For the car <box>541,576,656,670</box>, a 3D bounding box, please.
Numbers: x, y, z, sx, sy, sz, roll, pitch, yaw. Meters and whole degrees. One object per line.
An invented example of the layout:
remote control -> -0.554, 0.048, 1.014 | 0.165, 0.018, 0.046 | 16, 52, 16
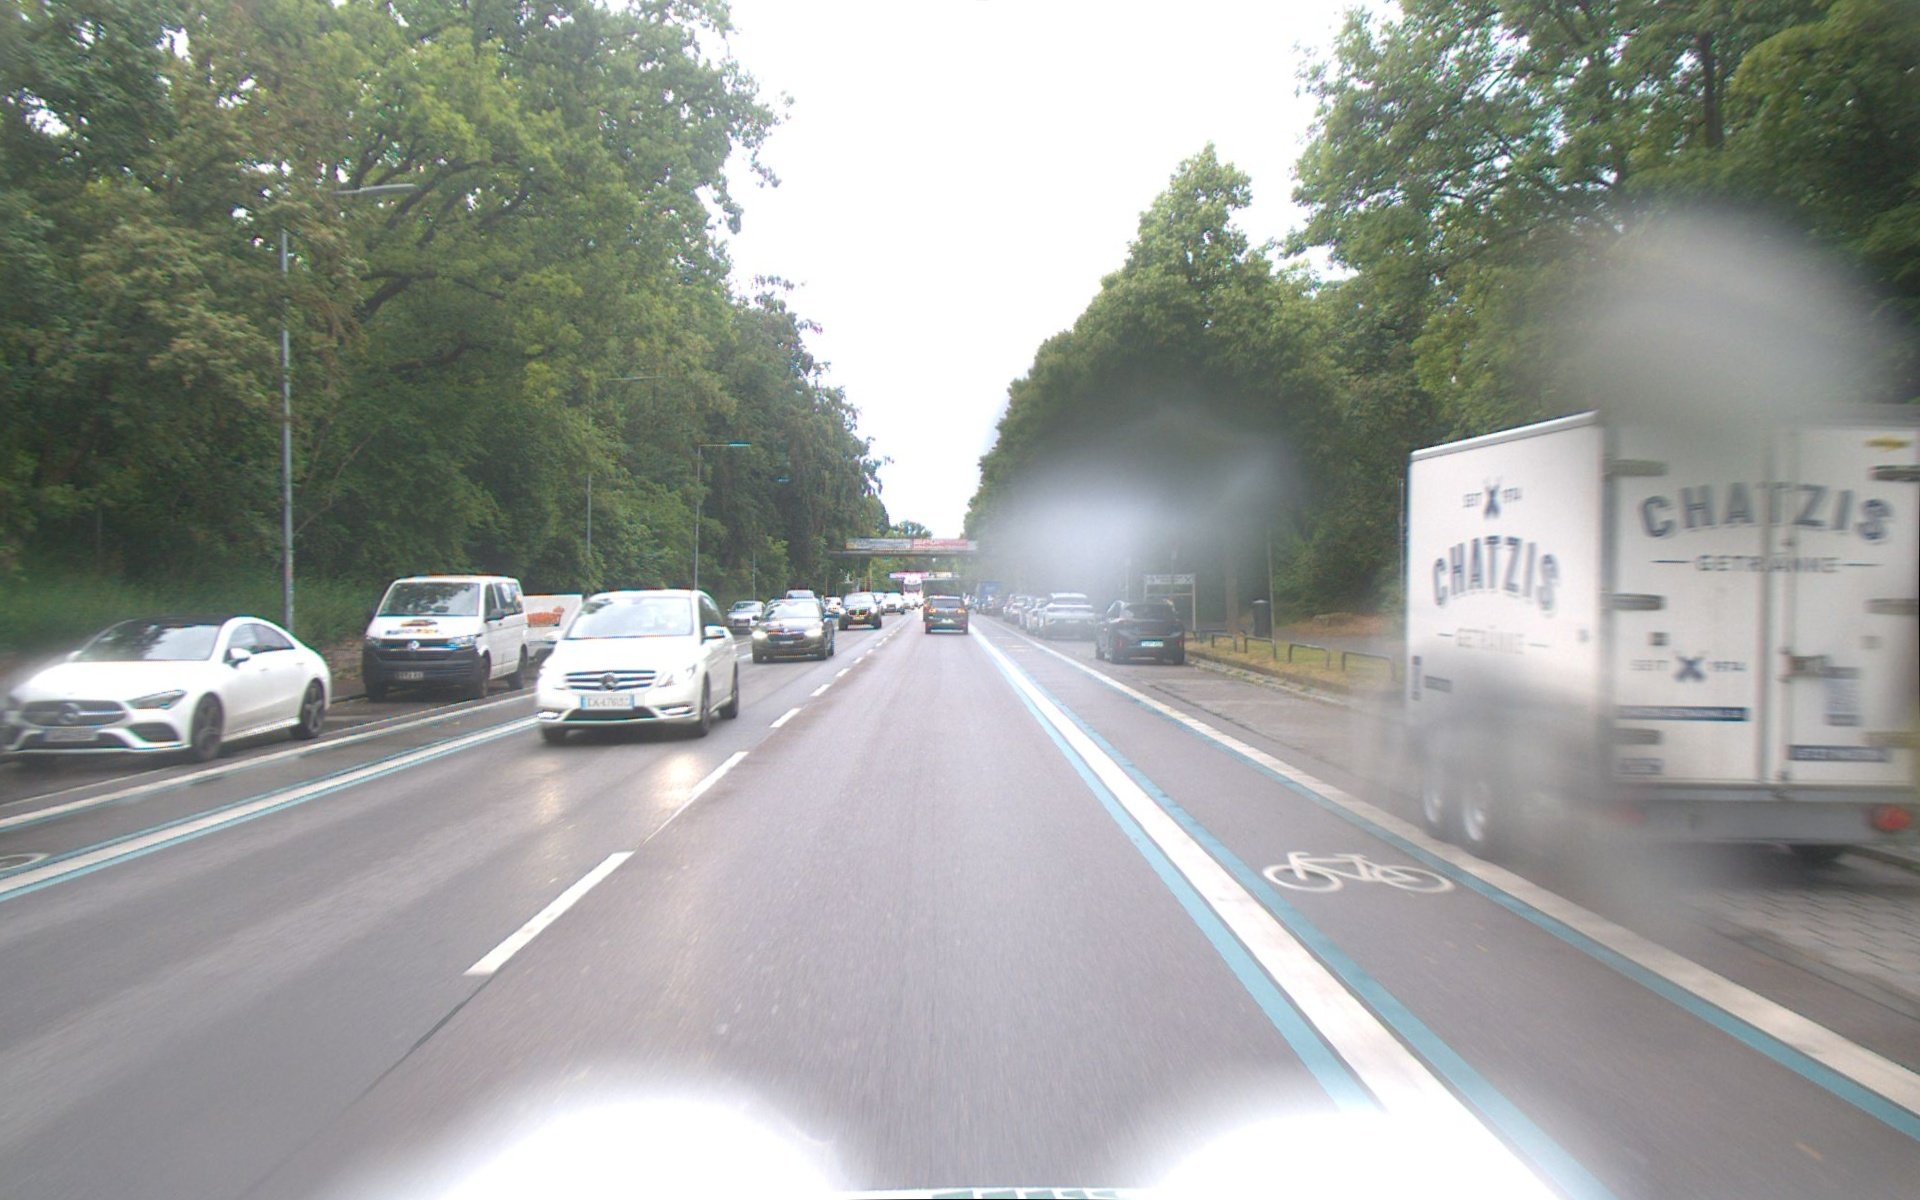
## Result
car -> -8.289, 0.476, 38.294 | 1.901, 2.049, 4.736 | 0, 0, -4

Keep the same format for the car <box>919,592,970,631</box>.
car -> -0.664, 0.468, 65.893 | 1.834, 1.466, 4.293 | 1, -1, -3

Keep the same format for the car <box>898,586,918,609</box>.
car -> -5.314, -0.209, 169.799 | 1.953, 2.049, 3.998 | -2, -3, -1

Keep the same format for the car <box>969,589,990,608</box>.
car -> 1.899, -0.186, 161.731 | 1.953, 1.780, 4.000 | 0, 0, -1

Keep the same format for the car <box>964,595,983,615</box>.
car -> 1.501, 0.569, 185.036 | 1.953, 2.049, 3.998 | -2, -3, -1

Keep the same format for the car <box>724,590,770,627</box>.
car -> -9.354, 0.351, 72.857 | 1.639, 1.540, 3.629 | 0, 1, -2

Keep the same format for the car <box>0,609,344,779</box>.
car -> -8.317, 0.881, 17.506 | 1.953, 1.514, 4.468 | 0, 0, -1

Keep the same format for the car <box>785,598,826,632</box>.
car -> -9.796, 0.936, 104.918 | 2.114, 2.049, 5.031 | -1, 0, 0

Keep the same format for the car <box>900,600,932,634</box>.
car -> -2.724, 1.054, 103.896 | 1.953, 2.049, 4.000 | 0, 0, -1

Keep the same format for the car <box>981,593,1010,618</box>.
car -> 2.665, 0.404, 124.982 | 1.953, 1.803, 3.999 | -2, 0, -1

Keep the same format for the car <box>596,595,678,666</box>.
car -> -8.686, 0.784, 44.700 | 1.543, 1.801, 3.415 | -1, 0, 0

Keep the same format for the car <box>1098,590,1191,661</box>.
car -> 4.270, 0.560, 38.829 | 1.687, 1.552, 4.000 | 0, 0, -1

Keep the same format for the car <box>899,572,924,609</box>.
car -> -6.654, -1.304, 226.784 | 3.285, 5.038, 9.008 | 0, 1, -1

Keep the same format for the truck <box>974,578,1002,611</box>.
truck -> 2.255, -0.470, 133.241 | 2.070, 2.644, 4.300 | -1, 0, -1

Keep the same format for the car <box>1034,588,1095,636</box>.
car -> 3.677, 0.390, 58.529 | 1.859, 1.634, 4.000 | 0, 0, -1

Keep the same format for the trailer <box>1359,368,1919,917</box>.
trailer -> 4.094, 0.179, 10.052 | 2.089, 2.605, 4.294 | 0, 0, -3

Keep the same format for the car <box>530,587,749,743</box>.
car -> -3.497, 0.638, 18.723 | 1.798, 1.544, 3.999 | -1, 1, -2

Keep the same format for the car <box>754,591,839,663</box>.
car -> -3.897, 0.606, 39.898 | 1.671, 1.599, 4.000 | 0, 1, 0

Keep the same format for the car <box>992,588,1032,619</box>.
car -> 2.772, 0.176, 89.045 | 1.953, 1.590, 4.000 | 0, 0, -1

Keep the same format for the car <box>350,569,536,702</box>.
car -> -8.586, 0.526, 27.898 | 1.901, 2.049, 4.736 | 0, 0, -4

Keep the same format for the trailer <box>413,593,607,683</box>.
trailer -> -8.870, 0.703, 32.863 | 1.595, 1.657, 3.666 | 0, 0, 30

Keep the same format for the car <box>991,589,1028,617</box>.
car -> 2.797, 0.164, 94.849 | 1.953, 1.590, 4.000 | 0, 0, -1

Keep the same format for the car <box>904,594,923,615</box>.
car -> -5.162, 0.479, 182.898 | 1.953, 2.049, 3.998 | -2, -3, -1

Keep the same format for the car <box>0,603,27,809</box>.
car -> -8.327, 0.838, 10.925 | 1.841, 1.589, 4.468 | 0, 0, -1

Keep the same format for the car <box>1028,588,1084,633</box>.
car -> 3.639, 0.381, 63.213 | 1.859, 1.634, 4.000 | 0, 0, -1

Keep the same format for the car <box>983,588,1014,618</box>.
car -> 2.719, 0.207, 117.168 | 1.953, 2.049, 3.998 | 0, 0, -2

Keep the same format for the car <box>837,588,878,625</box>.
car -> -4.679, 0.269, 75.837 | 1.671, 1.599, 4.000 | 0, 1, 0

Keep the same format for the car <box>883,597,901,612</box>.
car -> -5.255, 0.340, 128.605 | 1.350, 1.150, 3.312 | 0, 0, -1

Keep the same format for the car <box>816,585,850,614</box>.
car -> -9.375, -0.041, 122.029 | 2.114, 2.049, 5.031 | -1, 0, 0

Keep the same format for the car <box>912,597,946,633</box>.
car -> -1.784, 0.855, 96.208 | 1.953, 2.049, 4.000 | -1, 0, -1
